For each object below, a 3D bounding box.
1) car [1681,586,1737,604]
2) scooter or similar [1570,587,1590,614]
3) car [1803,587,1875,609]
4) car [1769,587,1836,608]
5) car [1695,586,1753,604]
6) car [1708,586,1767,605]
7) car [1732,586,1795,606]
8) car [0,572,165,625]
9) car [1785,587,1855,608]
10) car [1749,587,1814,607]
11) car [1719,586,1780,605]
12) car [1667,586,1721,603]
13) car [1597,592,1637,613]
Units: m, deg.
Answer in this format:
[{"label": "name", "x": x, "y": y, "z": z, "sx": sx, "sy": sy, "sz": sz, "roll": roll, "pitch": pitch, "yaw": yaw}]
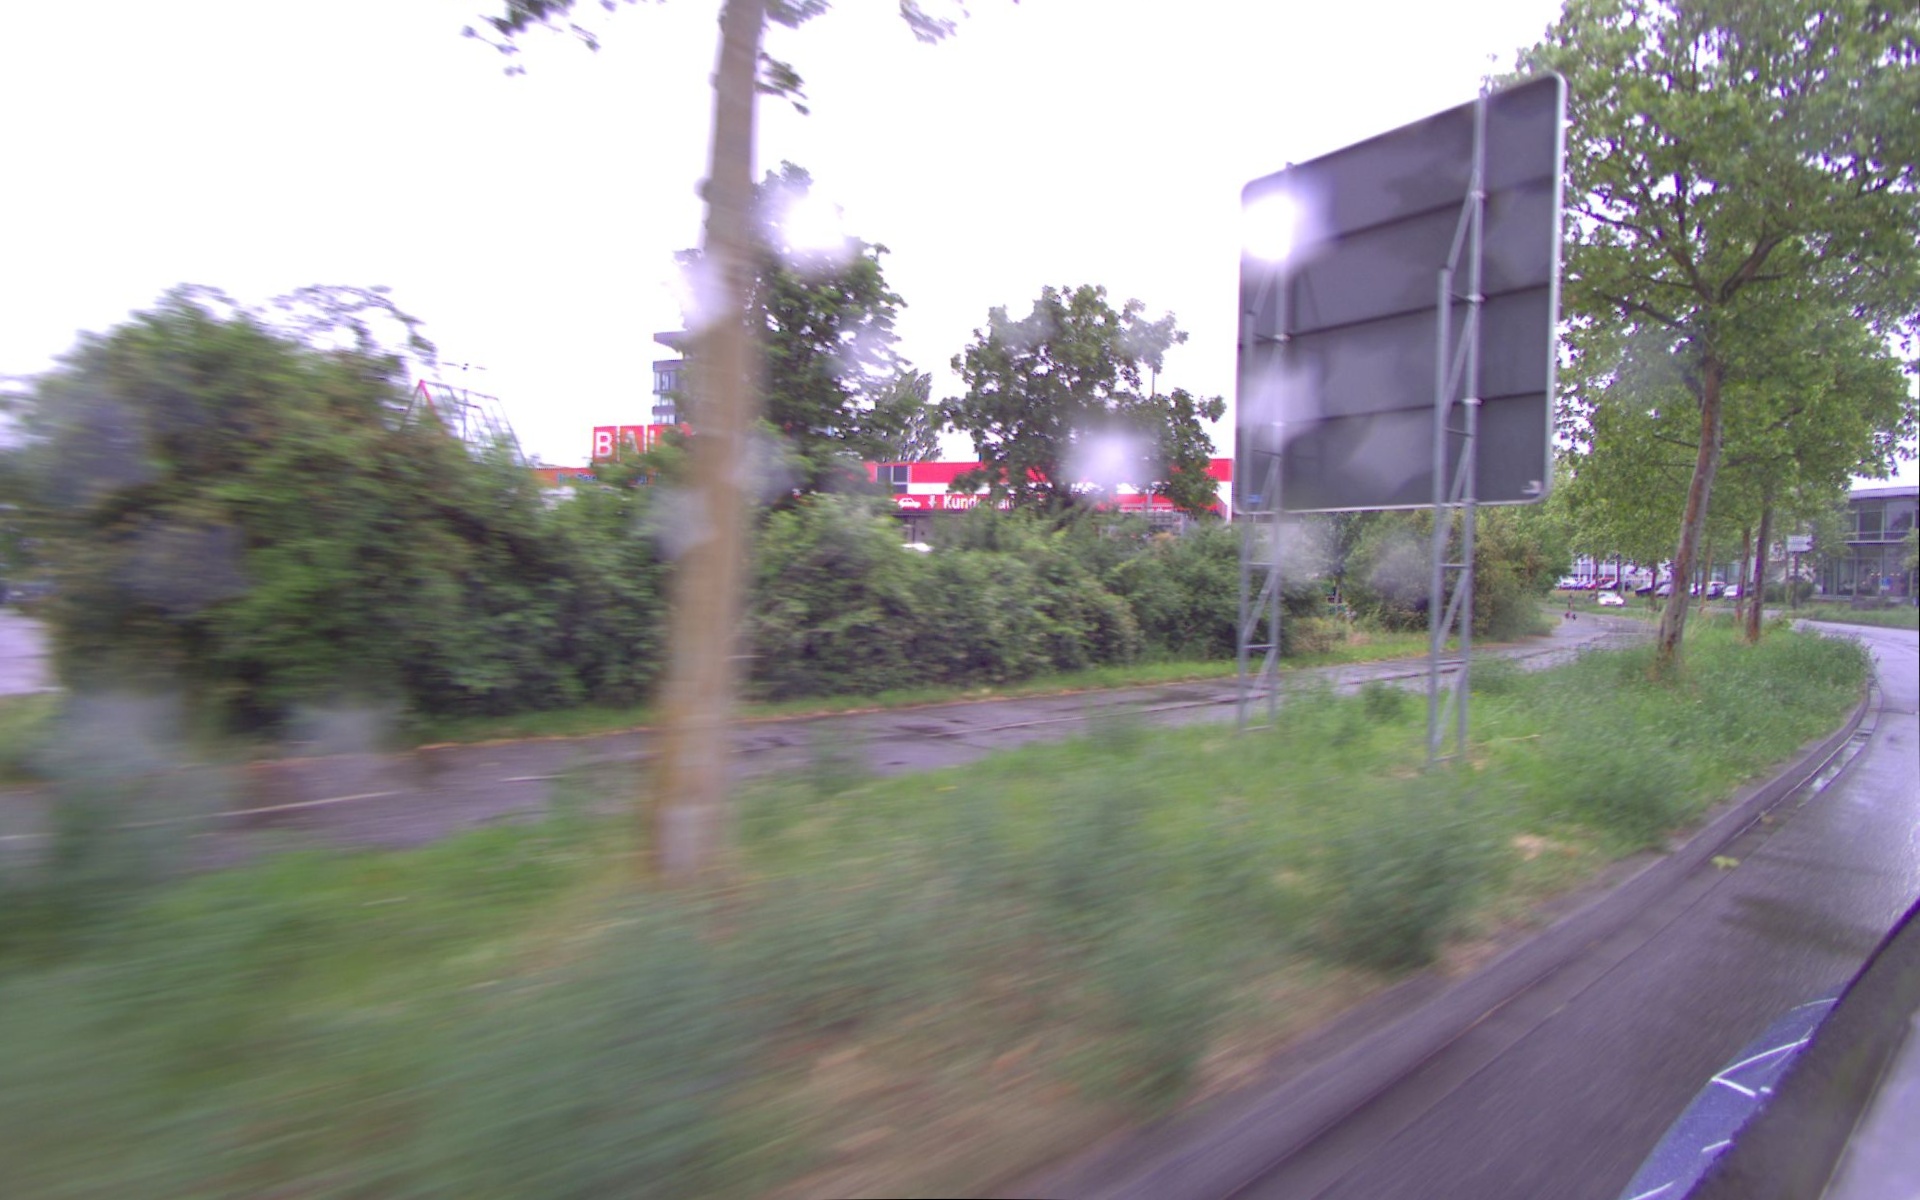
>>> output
[{"label": "car", "x": 72.292, "y": -0.512, "z": 97.680, "sx": 3.927, "sy": 1.680, "sz": 1.864, "roll": -1, "pitch": 1, "yaw": 3}, {"label": "scooter or similar", "x": 30.832, "y": 0.013, "z": 50.343, "sx": 0.445, "sy": 1.290, "sz": 1.593, "roll": 1, "pitch": 1, "yaw": 16}, {"label": "car", "x": 69.766, "y": -0.178, "z": 80.365, "sx": 3.927, "sy": 1.680, "sz": 1.864, "roll": -1, "pitch": 1, "yaw": 3}, {"label": "car", "x": 70.111, "y": -0.245, "z": 84.295, "sx": 3.927, "sy": 1.680, "sz": 1.864, "roll": -1, "pitch": 1, "yaw": 3}, {"label": "car", "x": 71.998, "y": -0.473, "z": 95.417, "sx": 3.927, "sy": 1.680, "sz": 1.864, "roll": -1, "pitch": 1, "yaw": 3}, {"label": "car", "x": 71.544, "y": -0.432, "z": 93.188, "sx": 3.927, "sy": 1.680, "sz": 1.864, "roll": -1, "pitch": 1, "yaw": 3}, {"label": "car", "x": 70.498, "y": -0.350, "z": 88.835, "sx": 3.927, "sy": 1.680, "sz": 1.864, "roll": -1, "pitch": 1, "yaw": 3}, {"label": "car", "x": -29.545, "y": -0.066, "z": 33.910, "sx": 1.912, "sy": 1.655, "sz": 4.318, "roll": 1, "pitch": 0, "yaw": 15}, {"label": "car", "x": 69.933, "y": -0.211, "z": 82.337, "sx": 3.927, "sy": 1.680, "sz": 1.864, "roll": -1, "pitch": 1, "yaw": 3}, {"label": "car", "x": 70.159, "y": -0.279, "z": 86.438, "sx": 3.927, "sy": 1.680, "sz": 1.864, "roll": -1, "pitch": 1, "yaw": 3}, {"label": "car", "x": 71.022, "y": -0.392, "z": 91.063, "sx": 3.927, "sy": 1.680, "sz": 1.864, "roll": -1, "pitch": 1, "yaw": 3}, {"label": "car", "x": 72.318, "y": -0.545, "z": 99.737, "sx": 3.927, "sy": 1.680, "sz": 1.864, "roll": -1, "pitch": 1, "yaw": 3}, {"label": "car", "x": 55.693, "y": 0.179, "z": 85.851, "sx": 1.976, "sy": 1.671, "sz": 3.973, "roll": 1, "pitch": 1, "yaw": 21}]
